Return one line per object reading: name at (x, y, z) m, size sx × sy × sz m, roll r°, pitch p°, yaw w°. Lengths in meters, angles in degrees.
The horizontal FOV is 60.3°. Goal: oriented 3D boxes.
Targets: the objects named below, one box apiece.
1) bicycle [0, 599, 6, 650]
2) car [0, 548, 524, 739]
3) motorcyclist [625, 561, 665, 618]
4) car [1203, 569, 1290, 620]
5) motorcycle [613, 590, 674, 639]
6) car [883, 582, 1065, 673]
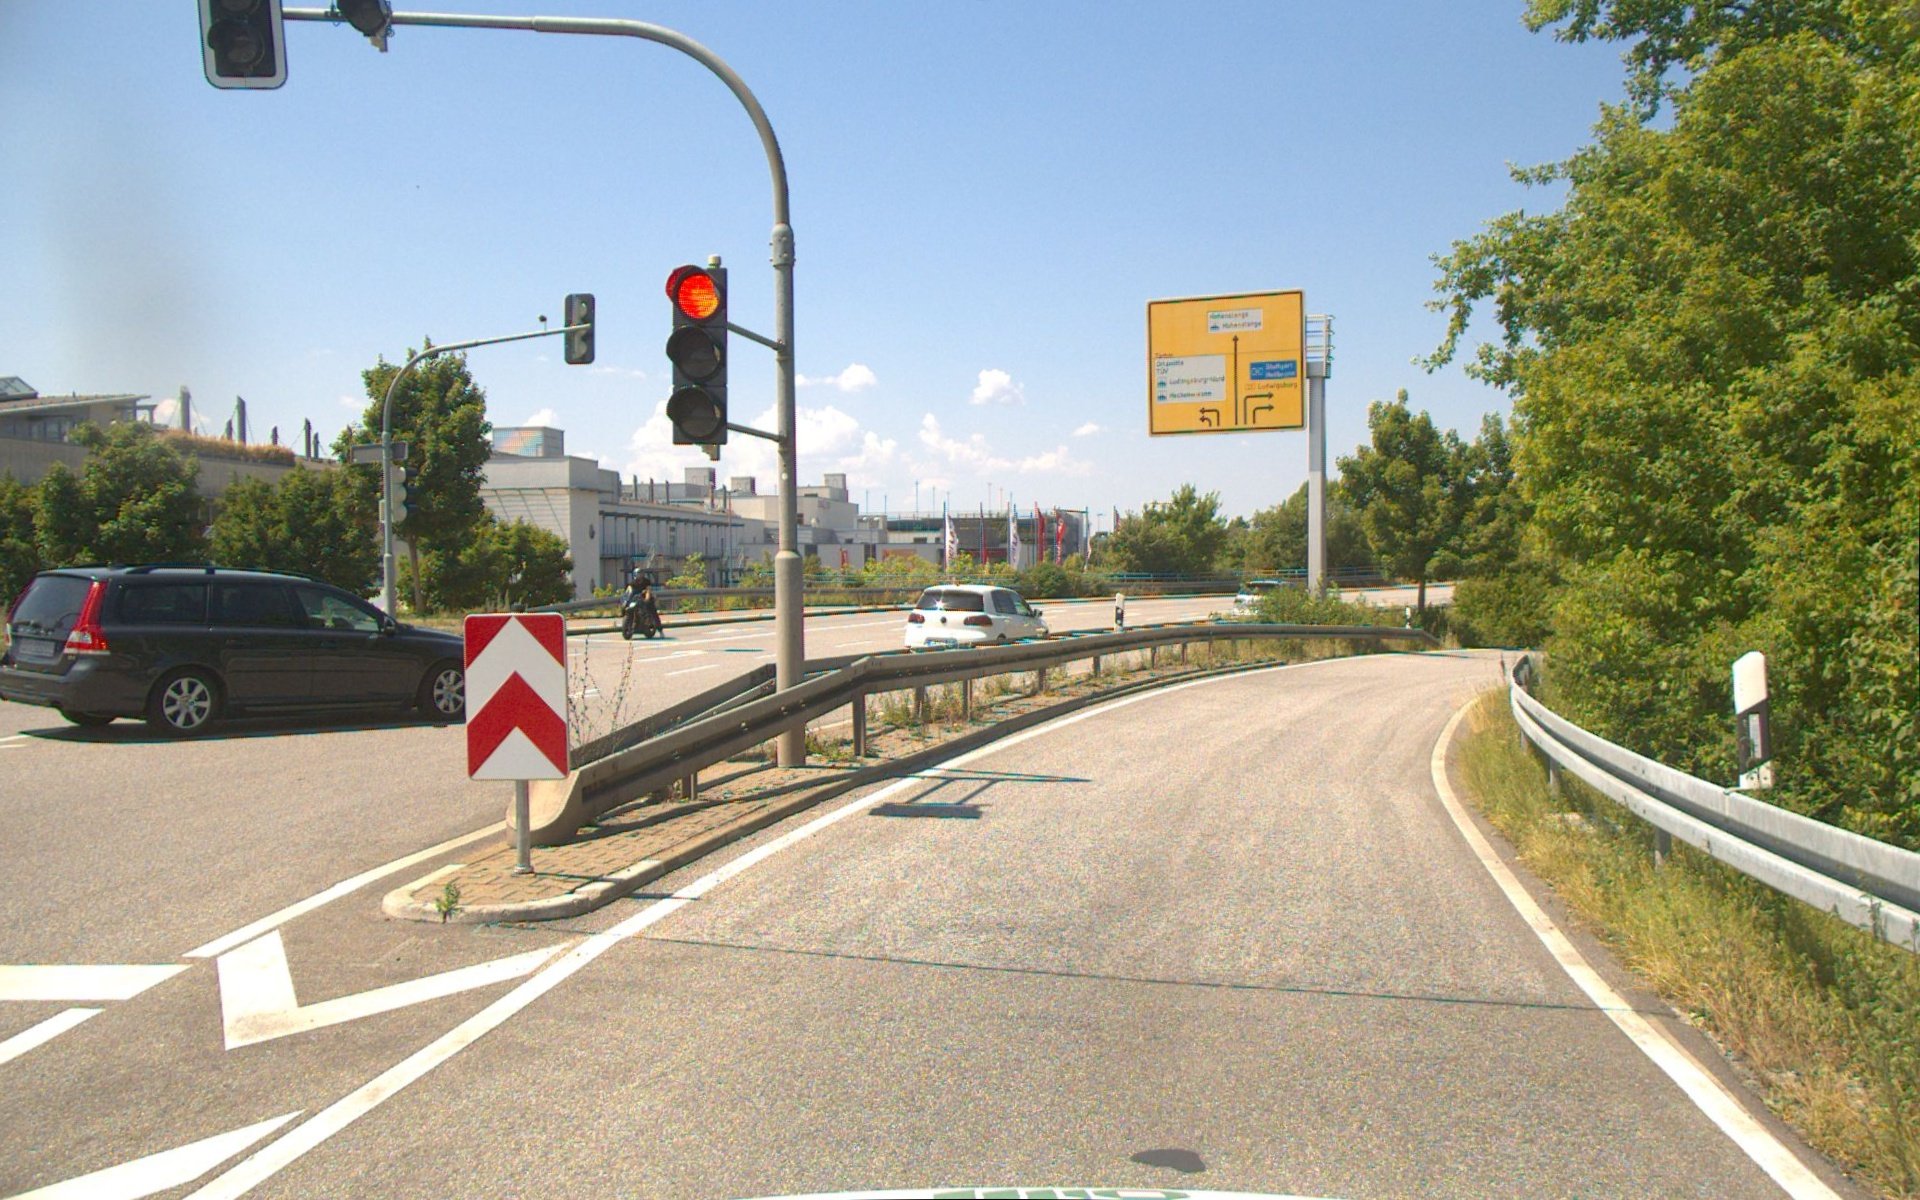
bicycle at (-16.865, 0.427, 27.673) m, size 0.522 × 0.867 × 2.127 m, roll 2°, pitch 1°, yaw 1°
car at (-6.654, 0.364, 16.056) m, size 1.701 × 1.572 × 4.717 m, roll 0°, pitch 0°, yaw 35°
motorcyclist at (-7.438, -0.245, 39.074) m, size 0.660 × 1.325 × 0.724 m, roll -2°, pitch 0°, yaw 13°
car at (9.349, -0.182, 53.722) m, size 1.952 × 1.531 × 4.397 m, roll -2°, pitch 0°, yaw 21°
motorcycle at (-7.441, 0.329, 38.999) m, size 0.550 × 1.099 × 2.286 m, roll -1°, pitch 0°, yaw 13°
car at (0.335, 0.463, 30.223) m, size 1.953 × 1.512 × 4.135 m, roll 1°, pitch 0°, yaw 22°
